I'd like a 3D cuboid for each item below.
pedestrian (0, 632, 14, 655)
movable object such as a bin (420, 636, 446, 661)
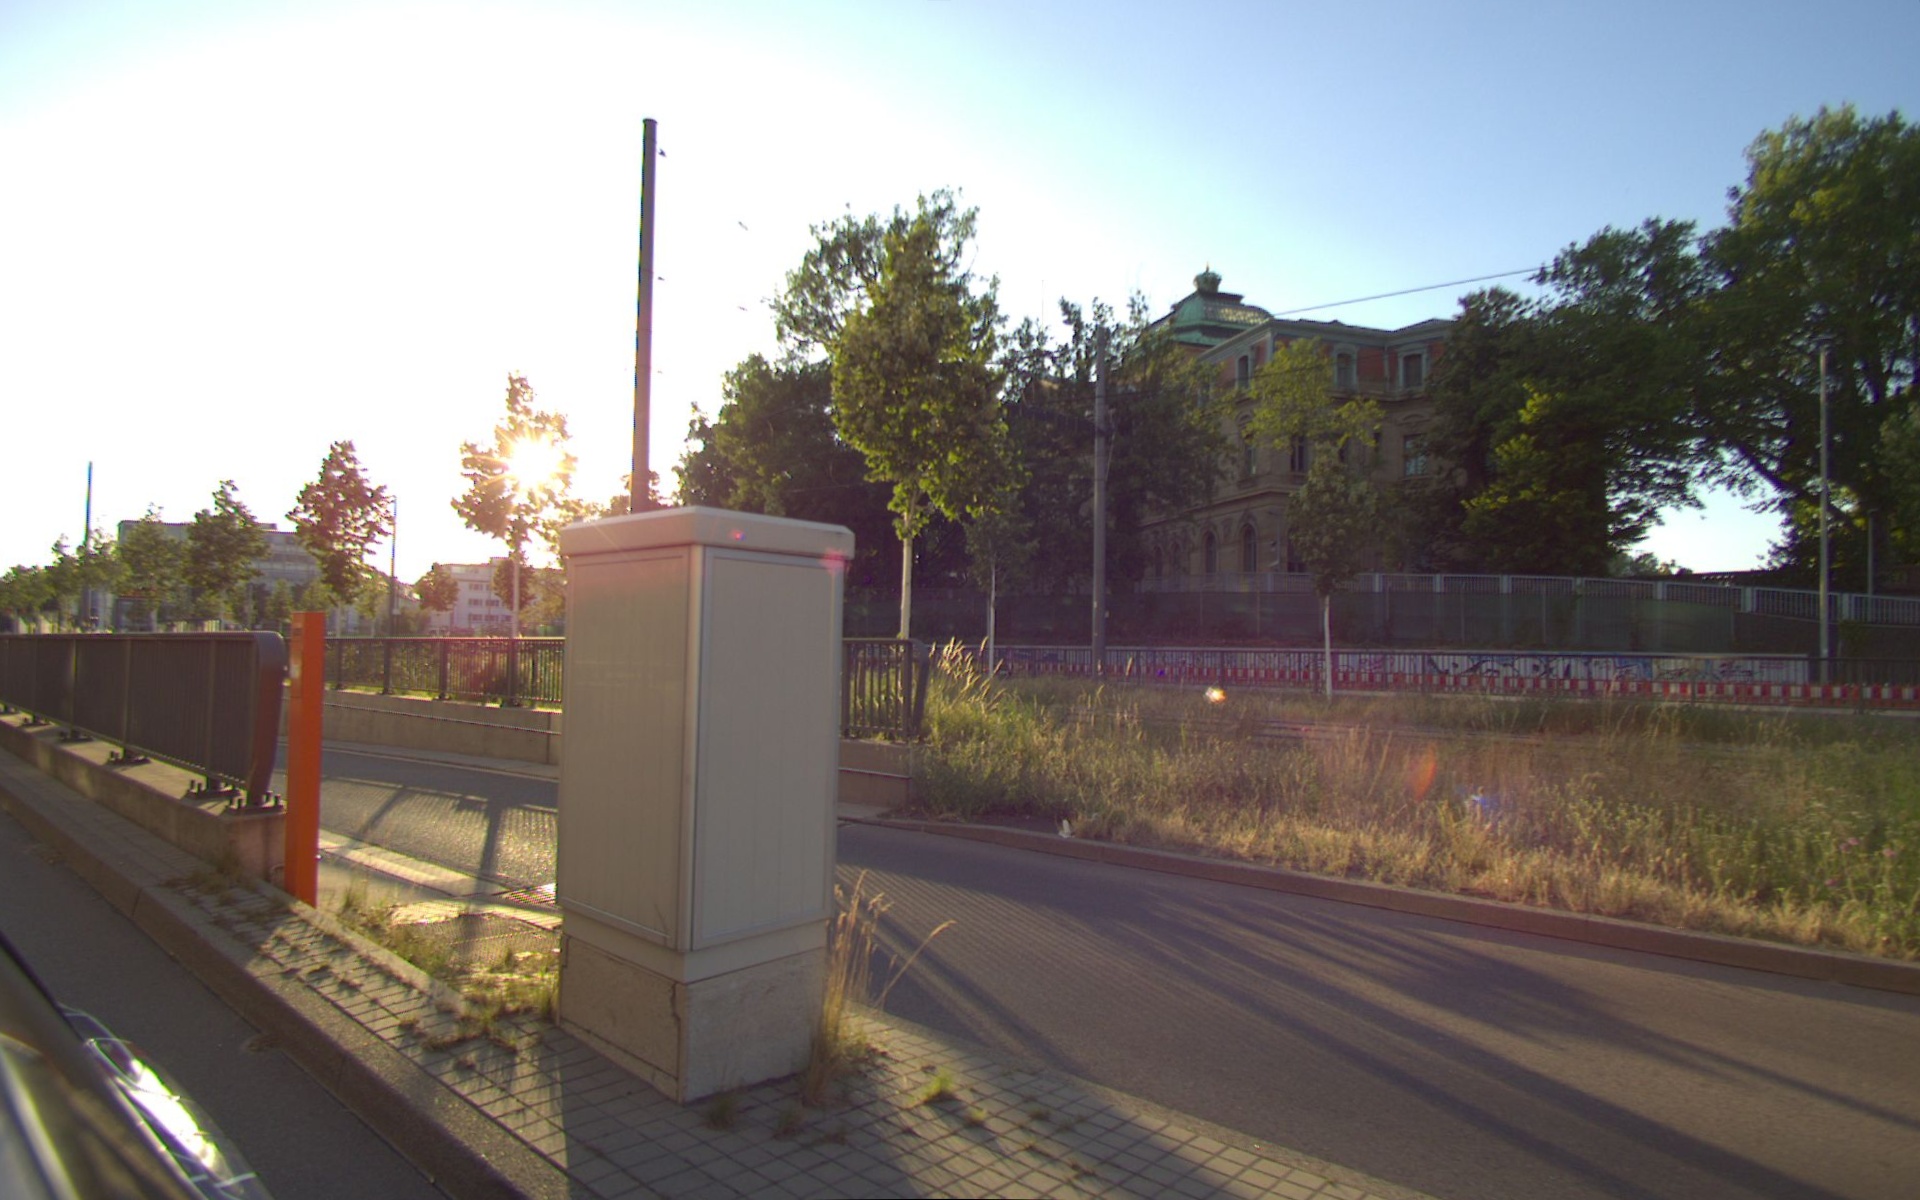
[{"bbox_3d":[-73.268,3.324,77.739,0.633,1.742,0.630,-2,-3,29],"label":"pedestrian"},{"bbox_3d":[-59.856,5.515,114.872,1.967,2.727,4.009,2,-3,-36],"label":"movable object such as a bin"}]
